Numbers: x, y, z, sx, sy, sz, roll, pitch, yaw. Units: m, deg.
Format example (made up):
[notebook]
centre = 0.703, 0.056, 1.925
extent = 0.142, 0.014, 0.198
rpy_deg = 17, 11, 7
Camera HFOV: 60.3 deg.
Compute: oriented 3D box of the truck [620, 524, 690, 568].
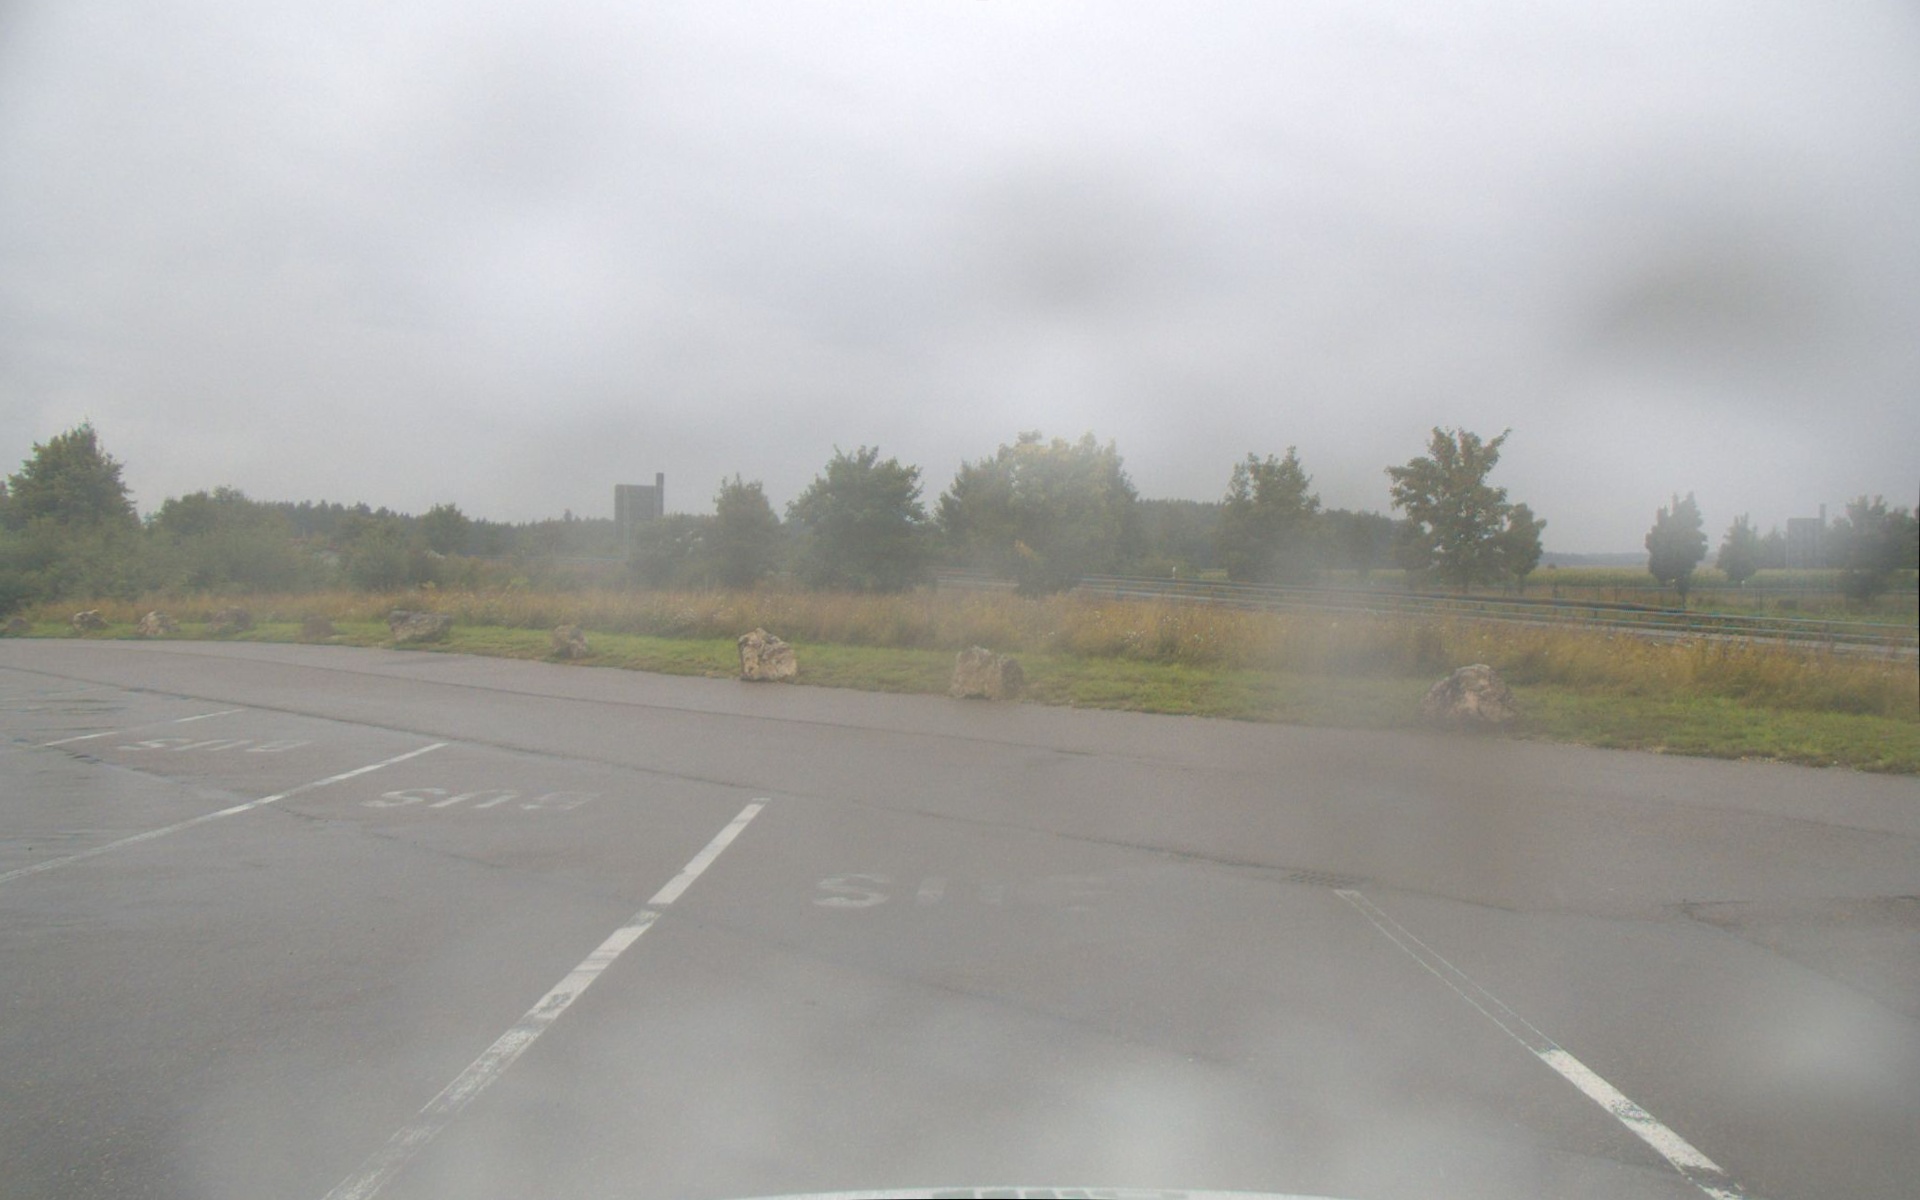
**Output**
[truck]
centre = -24.692, -4.323, 133.500
extent = 2.714, 3.450, 7.976
rpy_deg = 0, 1, -33
